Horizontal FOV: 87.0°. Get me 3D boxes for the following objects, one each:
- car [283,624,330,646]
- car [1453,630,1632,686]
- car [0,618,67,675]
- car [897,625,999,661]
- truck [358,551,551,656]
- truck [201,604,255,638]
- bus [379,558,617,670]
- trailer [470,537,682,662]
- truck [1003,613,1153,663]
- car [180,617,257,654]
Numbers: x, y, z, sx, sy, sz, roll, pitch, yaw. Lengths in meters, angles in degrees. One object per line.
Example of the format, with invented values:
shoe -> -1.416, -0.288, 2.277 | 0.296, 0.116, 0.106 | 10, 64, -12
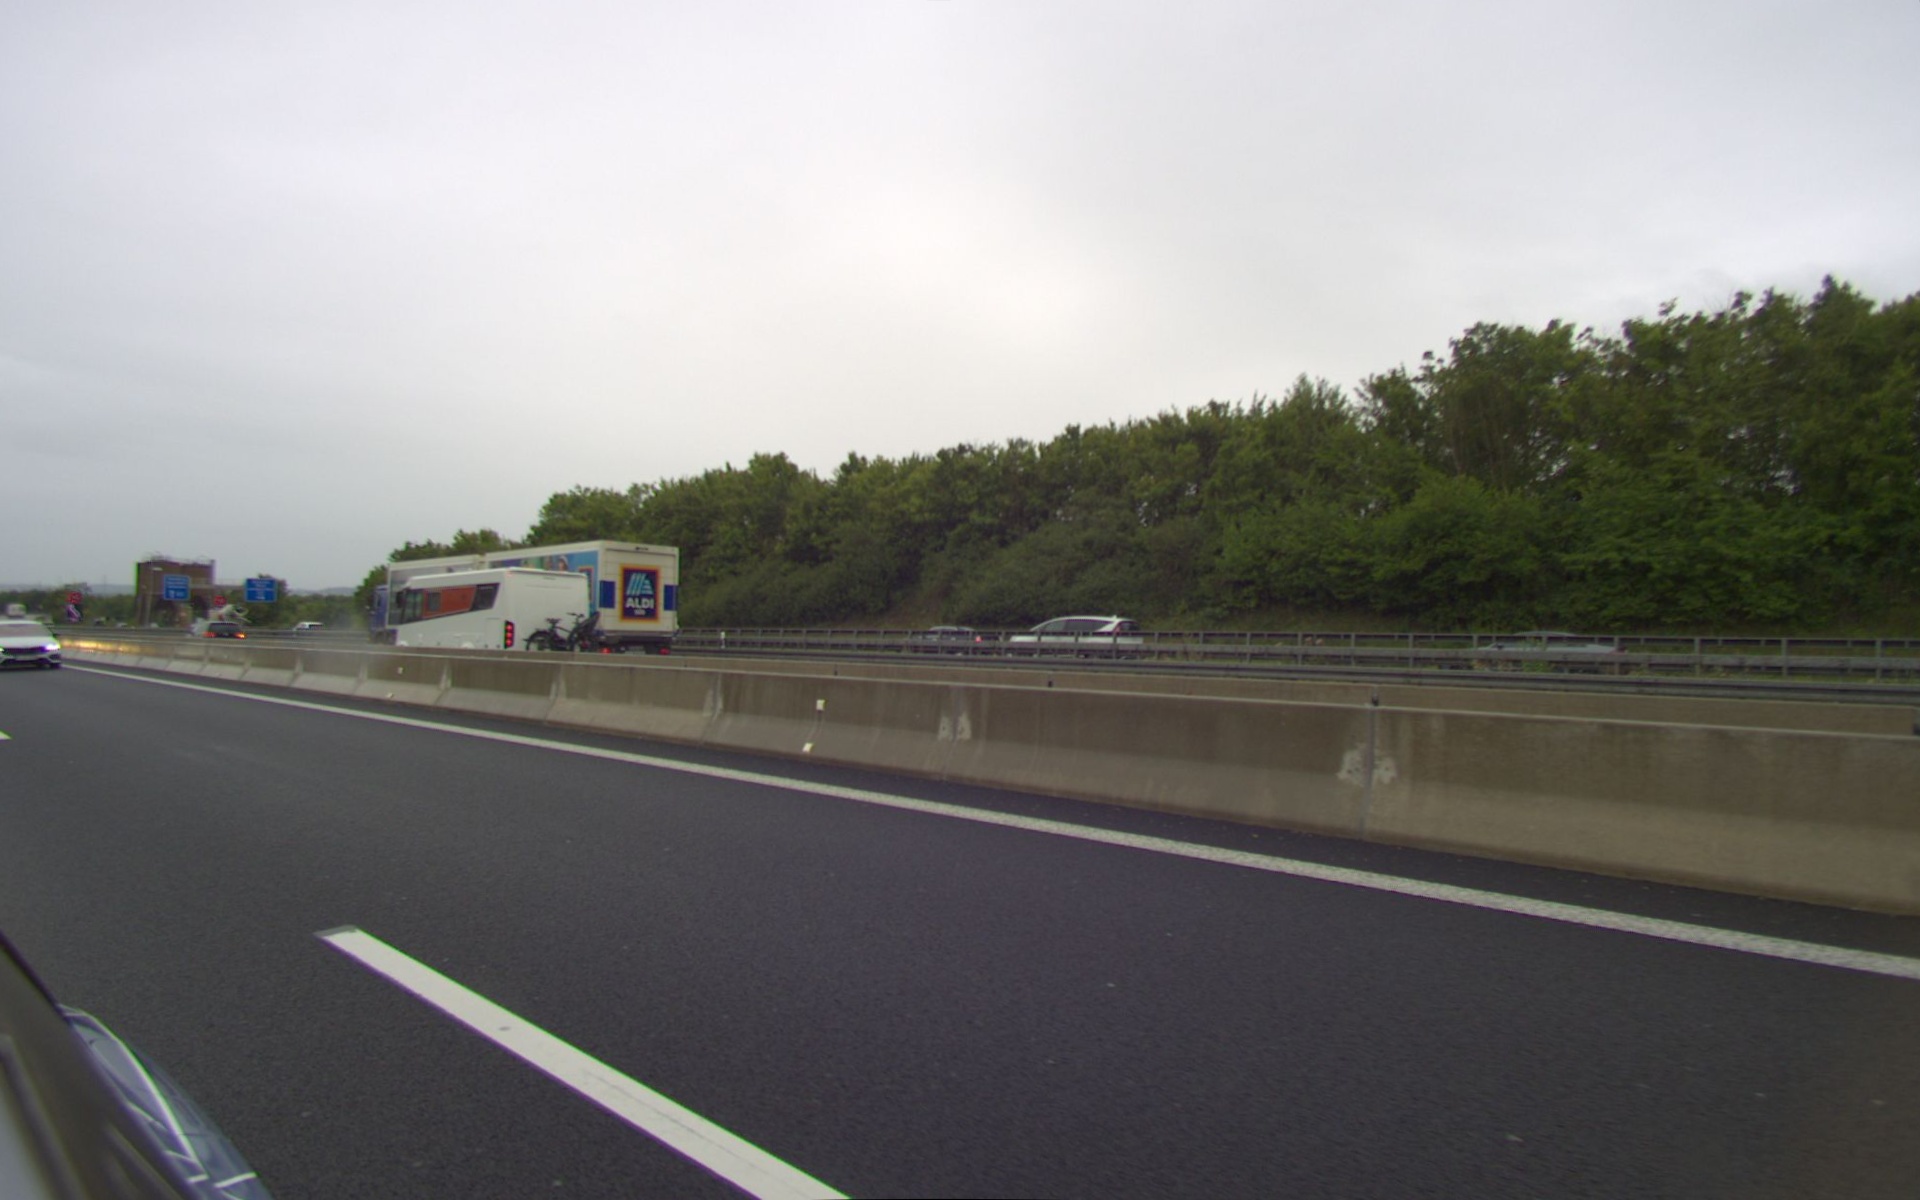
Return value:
car -> -53.604, 2.820, 82.951 | 4.578, 1.750, 1.973 | -1, -2, 40
car -> 15.853, 1.523, 27.631 | 3.997, 1.386, 1.779 | -1, -2, 40
car -> -28.503, 1.355, 30.357 | 4.814, 1.603, 1.972 | -1, -1, 41
car -> -0.511, 1.692, 40.876 | 4.111, 1.380, 1.518 | -1, -2, 40
truck -> -19.628, 0.160, 38.808 | 10.636, 3.551, 2.779 | -1, 0, 41
truck -> -82.026, 2.370, 113.277 | 9.550, 3.689, 2.658 | -1, -2, 40
bus -> -12.614, 0.368, 27.197 | 8.264, 2.606, 2.515 | -1, 0, 40
trailer -> -12.519, 0.015, 32.587 | 8.047, 3.542, 2.912 | -1, 0, 41
truck -> 3.765, 1.207, 32.733 | 4.465, 1.507, 1.975 | -1, -2, 38
car -> -33.883, 1.605, 46.211 | 3.998, 1.630, 1.973 | -2, -2, 41
